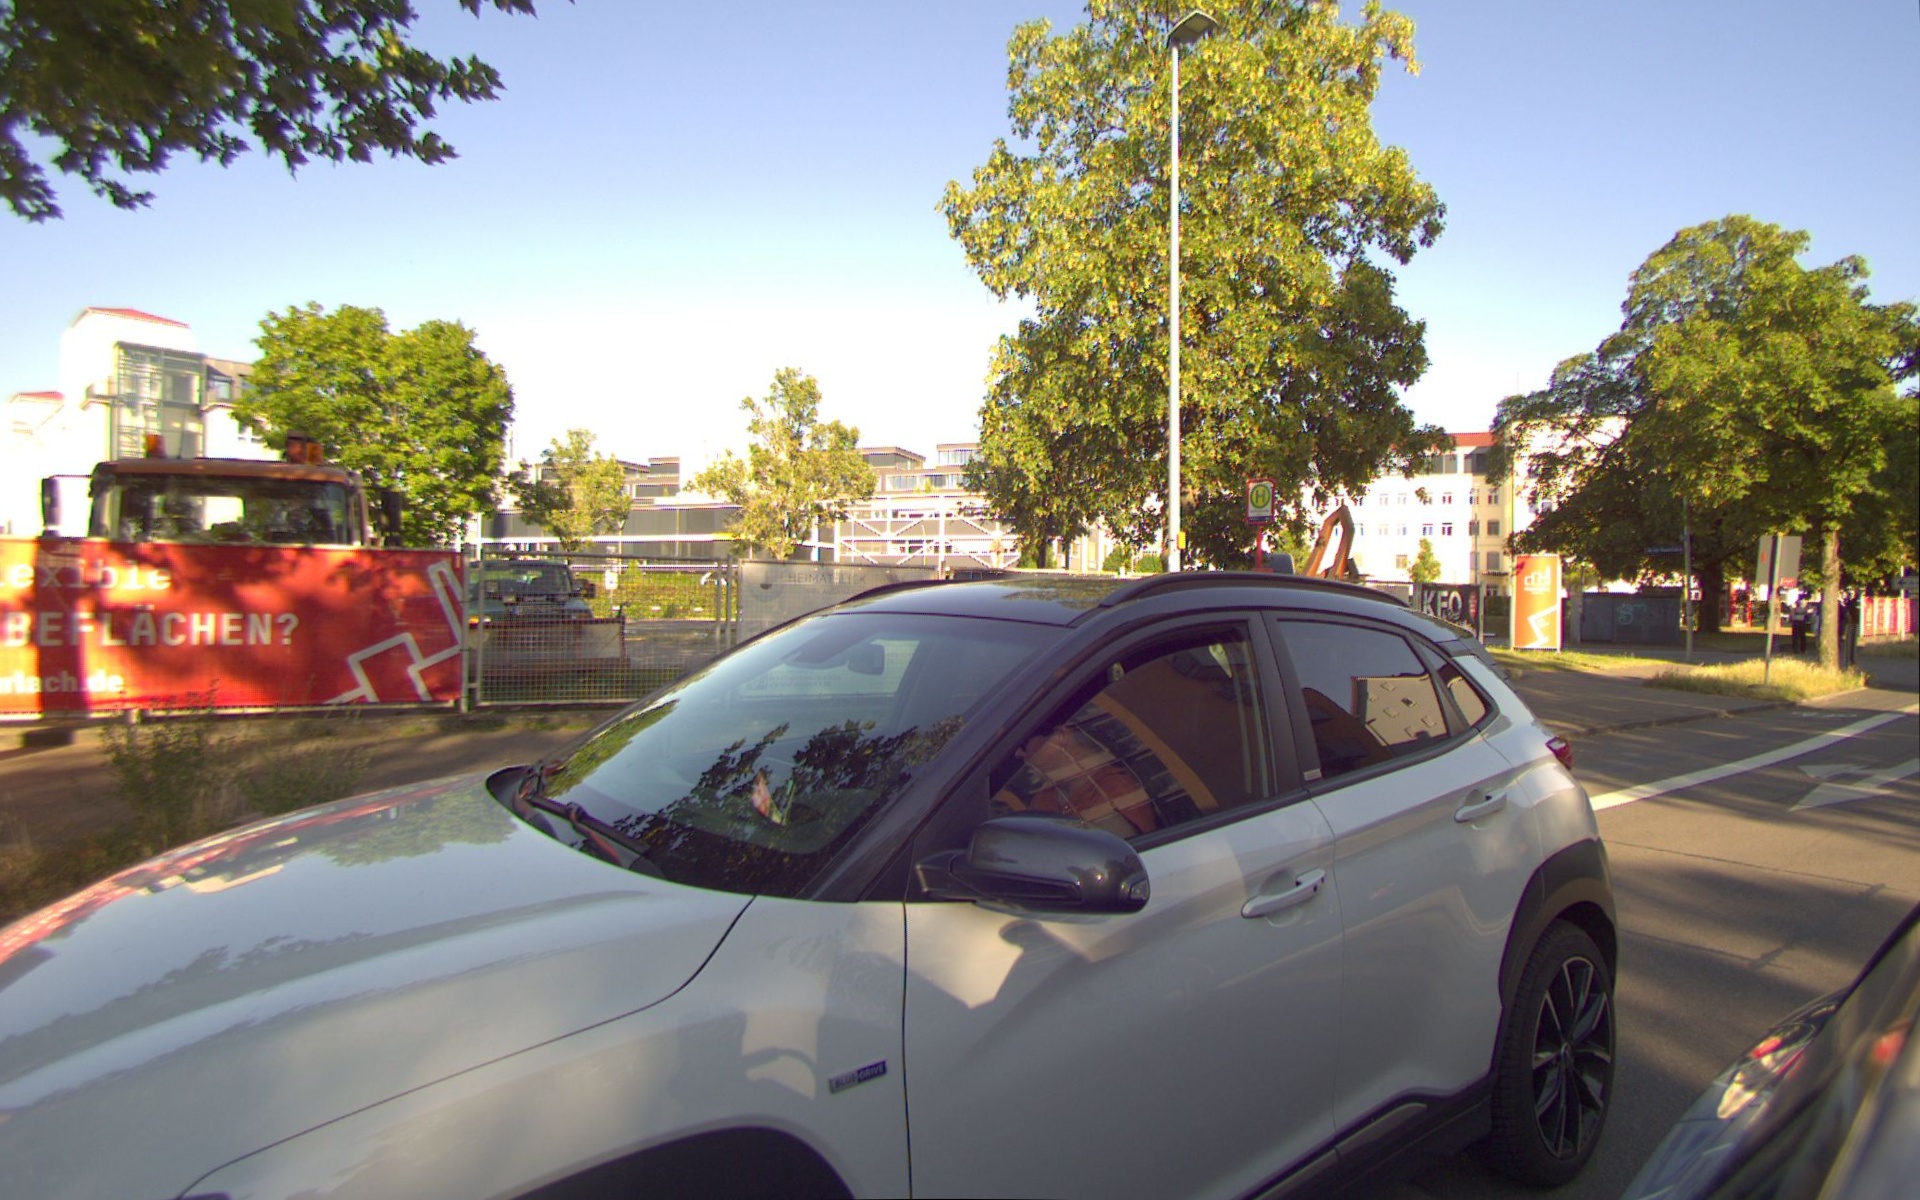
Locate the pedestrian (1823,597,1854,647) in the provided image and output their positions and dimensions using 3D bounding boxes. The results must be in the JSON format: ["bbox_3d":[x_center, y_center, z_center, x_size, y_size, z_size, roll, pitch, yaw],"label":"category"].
[{"bbox_3d":[26.195,0.647,30.191,0.627,1.452,0.609,0,0,-40],"label":"pedestrian"}]

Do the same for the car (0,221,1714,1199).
[{"bbox_3d":[0.045,0.623,2.384,3.893,1.618,1.894,3,-2,-39],"label":"car"}]

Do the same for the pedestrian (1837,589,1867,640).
[{"bbox_3d":[30.323,0.477,34.407,0.692,1.689,0.630,0,0,38],"label":"pedestrian"}]

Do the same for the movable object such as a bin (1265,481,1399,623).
[{"bbox_3d":[15.519,-1.887,42.758,3.910,5.547,6.022,0,0,6],"label":"movable object such as a bin"}]

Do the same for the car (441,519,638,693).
[{"bbox_3d":[-5.671,0.042,13.291,2.001,1.851,4.612,0,0,-28],"label":"car"}]

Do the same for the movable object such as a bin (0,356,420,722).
[{"bbox_3d":[-8.395,-0.550,12.052,3.154,3.087,6.295,0,0,-31],"label":"movable object such as a bin"}]

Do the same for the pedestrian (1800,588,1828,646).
[{"bbox_3d":[26.181,0.500,31.013,0.607,1.759,0.629,0,0,44],"label":"pedestrian"}]
